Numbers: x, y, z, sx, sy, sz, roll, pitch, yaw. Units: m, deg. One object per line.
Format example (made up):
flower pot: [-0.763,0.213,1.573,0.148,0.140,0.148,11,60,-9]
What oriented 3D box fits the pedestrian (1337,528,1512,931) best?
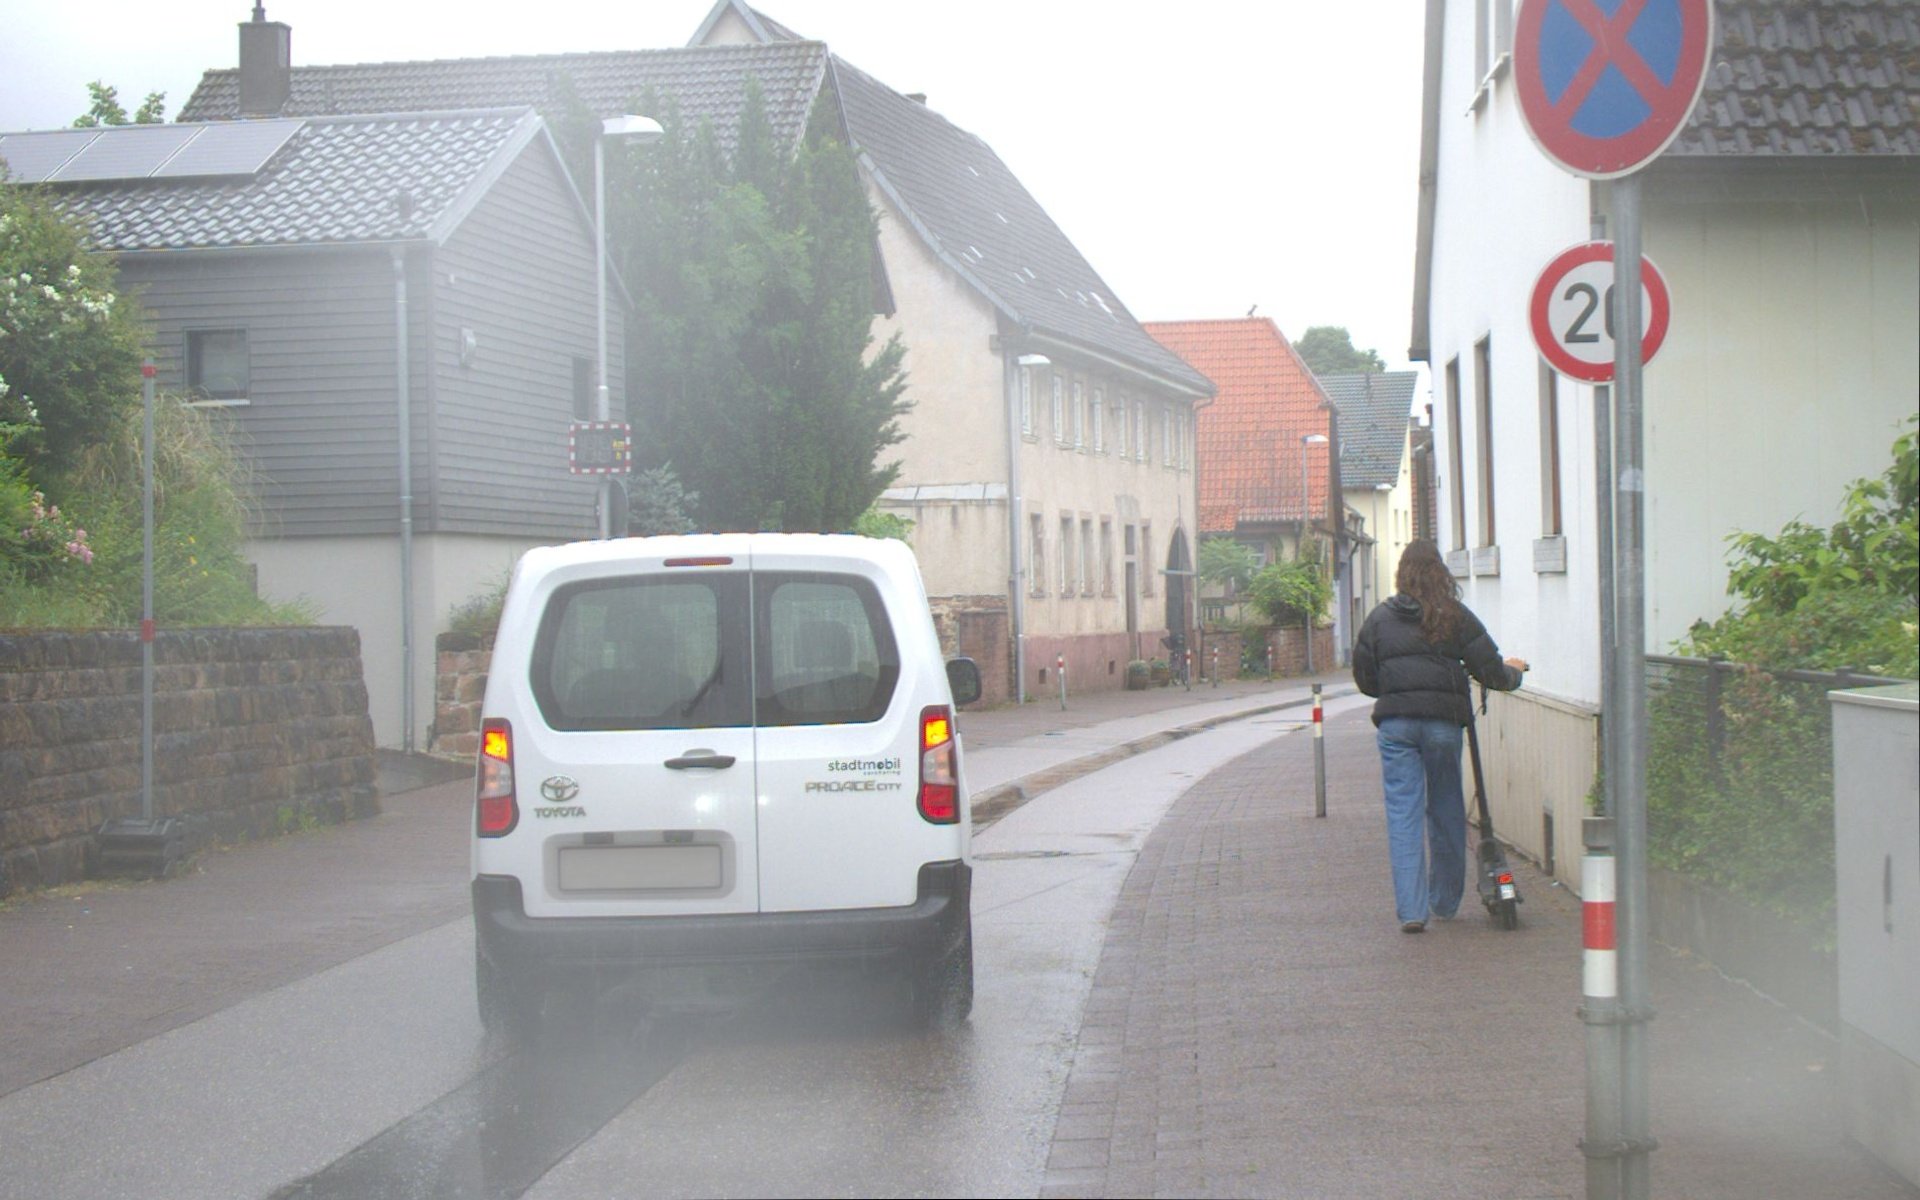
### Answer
pedestrian: [2.046,0.552,15.226,0.694,1.726,0.821,1,1,4]

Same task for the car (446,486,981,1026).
car: [-0.838,0.562,13.742,1.795,1.812,4.101,1,-1,0]

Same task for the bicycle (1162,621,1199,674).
bicycle: [5.007,1.080,78.029,0.483,1.176,1.834,0,-1,15]

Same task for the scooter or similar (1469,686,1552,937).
scooter or similar: [2.422,0.914,15.166,0.245,1.024,1.100,1,1,4]
